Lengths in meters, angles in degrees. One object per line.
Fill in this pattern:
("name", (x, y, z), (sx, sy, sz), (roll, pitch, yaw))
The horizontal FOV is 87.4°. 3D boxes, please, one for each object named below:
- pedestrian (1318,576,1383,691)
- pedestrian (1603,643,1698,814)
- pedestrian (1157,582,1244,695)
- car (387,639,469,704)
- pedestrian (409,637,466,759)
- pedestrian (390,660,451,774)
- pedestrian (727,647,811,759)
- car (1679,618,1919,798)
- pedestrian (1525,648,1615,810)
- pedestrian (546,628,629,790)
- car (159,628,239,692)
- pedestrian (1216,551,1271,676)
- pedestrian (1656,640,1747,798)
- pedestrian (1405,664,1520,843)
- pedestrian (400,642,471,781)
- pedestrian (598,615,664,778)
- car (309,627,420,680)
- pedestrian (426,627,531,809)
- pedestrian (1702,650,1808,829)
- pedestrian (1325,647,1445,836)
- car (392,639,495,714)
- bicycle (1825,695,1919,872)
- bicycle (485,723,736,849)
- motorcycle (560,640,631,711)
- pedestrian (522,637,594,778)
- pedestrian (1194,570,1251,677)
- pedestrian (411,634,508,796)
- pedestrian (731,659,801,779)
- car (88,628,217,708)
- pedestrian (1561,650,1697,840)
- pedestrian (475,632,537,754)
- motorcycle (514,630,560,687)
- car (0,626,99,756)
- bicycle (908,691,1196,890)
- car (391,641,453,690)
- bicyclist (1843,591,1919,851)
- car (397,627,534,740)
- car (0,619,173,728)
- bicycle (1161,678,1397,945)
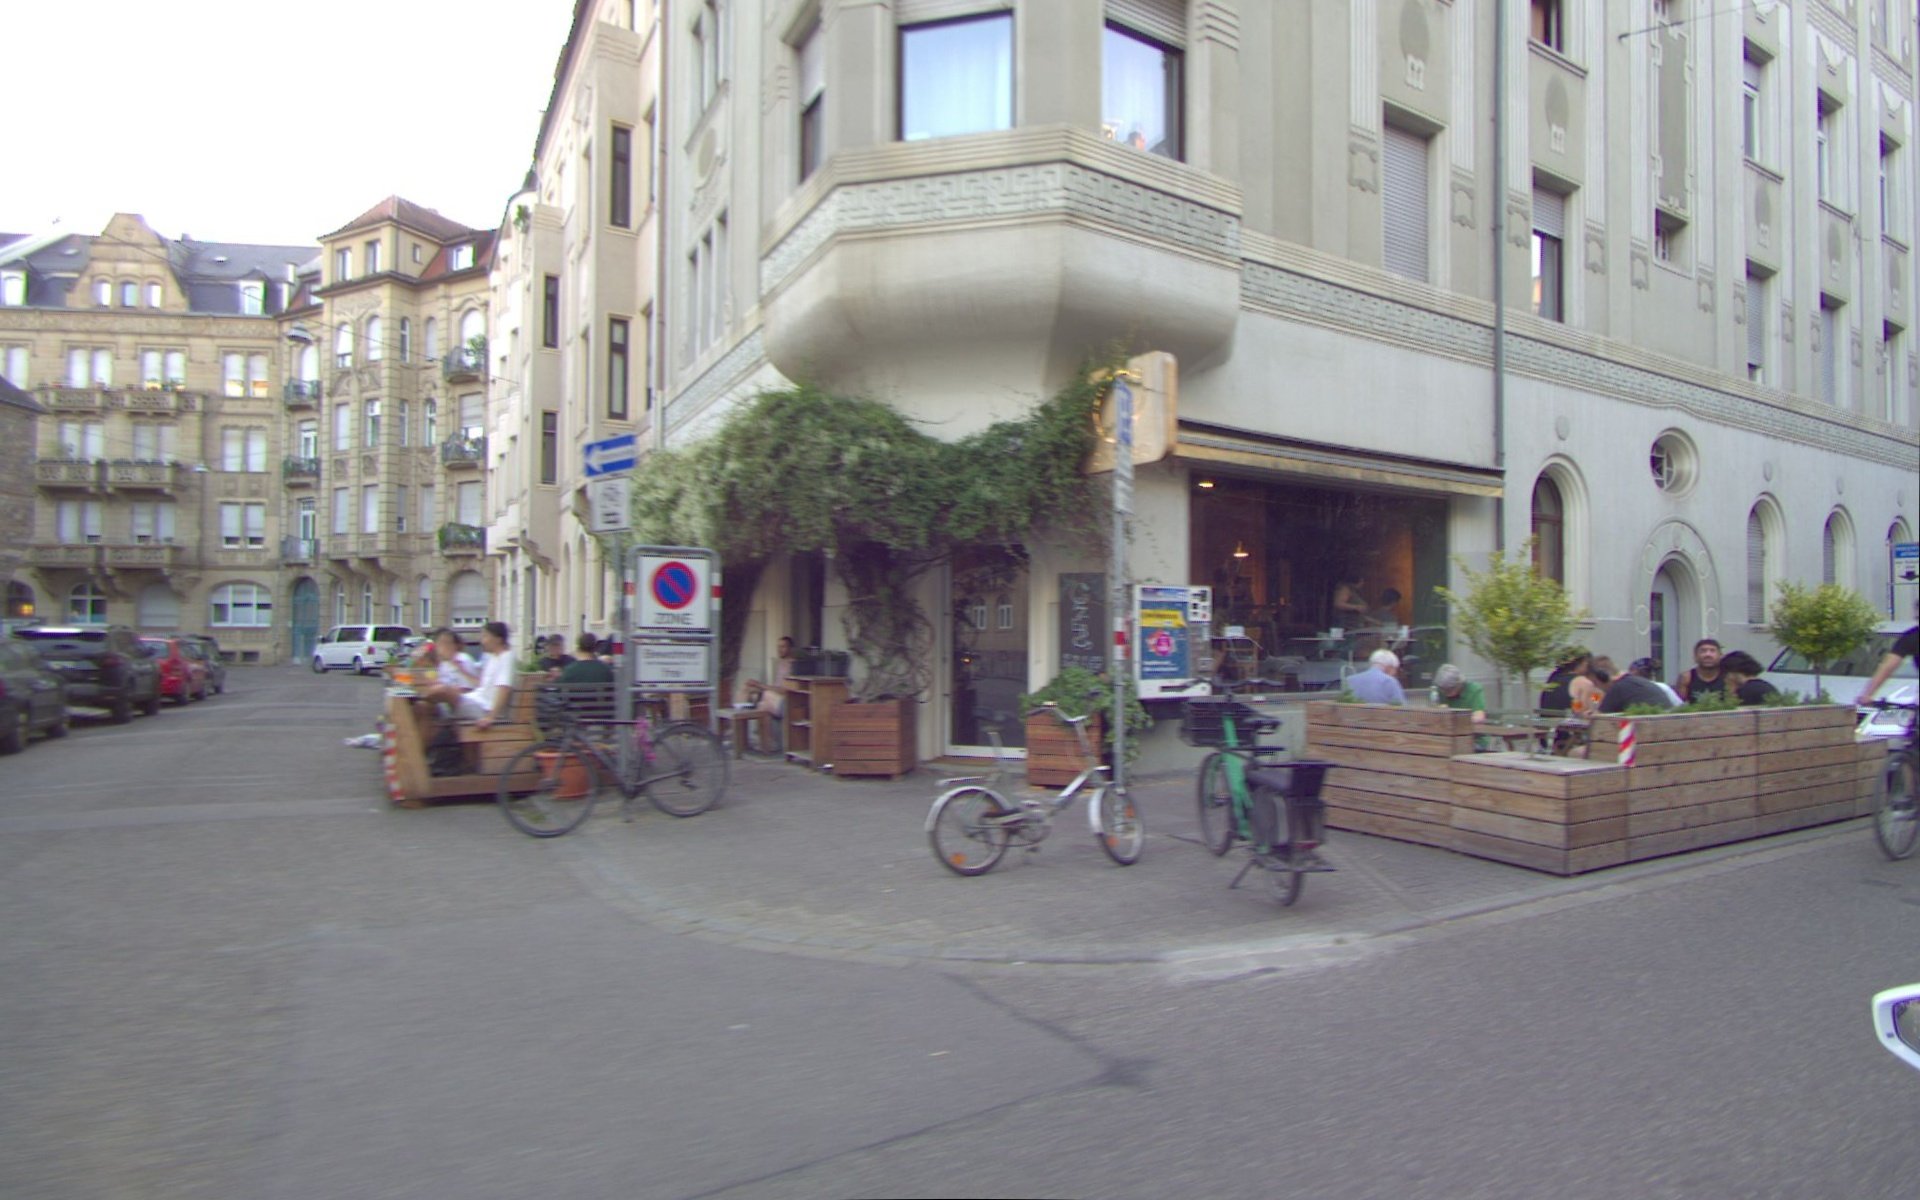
("pedestrian", (4.768, 0.409, 12.280), (0.512, 1.368, 0.536), (1, -1, -30))
("pedestrian", (5.844, 1.058, 8.506), (0.604, 1.368, 0.466), (1, -1, -32))
("pedestrian", (2.576, 0.408, 10.771), (0.739, 1.169, 0.554), (2, -1, -32))
("car", (-14.196, 1.858, 26.697), (1.720, 1.567, 4.118), (4, -4, -30))
("pedestrian", (-6.507, 1.194, 12.505), (0.567, 1.466, 0.639), (1, -2, -31))
("pedestrian", (-6.117, 1.304, 11.389), (0.567, 1.223, 0.639), (1, -2, -31))
("pedestrian", (-2.214, 1.170, 11.633), (0.770, 1.230, 0.687), (1, -2, -30))
("car", (9.950, 1.046, 10.902), (4.265, 1.612, 1.983), (2, -2, -31))
("pedestrian", (5.425, 1.117, 8.932), (0.604, 1.368, 0.466), (1, -1, -32))
("pedestrian", (-3.578, 1.016, 9.644), (0.637, 1.488, 0.569), (1, -2, -32))
("car", (-20.183, 1.547, 26.739), (1.282, 1.592, 3.221), (1, -2, -30))
("pedestrian", (3.928, 0.192, 13.925), (0.512, 1.676, 0.536), (1, -1, -30))
("pedestrian", (6.721, 1.049, 9.110), (0.534, 1.368, 0.514), (2, -1, -33))
("pedestrian", (4.041, 1.197, 8.084), (0.696, 1.342, 0.535), (1, -1, -30))
("pedestrian", (-5.624, 1.162, 10.771), (0.637, 1.430, 0.569), (1, -2, -30))
("pedestrian", (-3.446, 0.989, 10.522), (0.540, 1.642, 0.538), (1, -2, -31))
("car", (-23.357, 2.063, 39.355), (5.084, 1.884, 1.803), (0, -4, 36))
("pedestrian", (-4.400, 1.038, 9.172), (0.775, 1.560, 0.698), (1, -2, -32))
("pedestrian", (6.430, 1.092, 8.131), (0.661, 1.368, 0.481), (1, -1, -32))
("pedestrian", (3.240, 1.041, 7.661), (0.696, 1.342, 0.535), (1, -1, -30))
("car", (-11.254, 1.615, 21.762), (1.720, 1.448, 4.118), (4, -4, -30))
("bicycle", (6.793, 1.222, 6.984), (1.882, 1.054, 0.611), (2, -2, -31))
("bicycle", (-2.626, 1.375, 7.660), (1.760, 0.705, 0.421), (-1, -1, -34))
("motorcycle", (-7.428, 1.466, 20.348), (0.808, 1.297, 3.384), (1, -2, -29))
("pedestrian", (-4.346, 1.135, 10.853), (0.637, 1.462, 0.569), (1, -2, -30))
("pedestrian", (3.536, 0.323, 13.536), (0.512, 1.401, 0.536), (1, -1, -30))
("pedestrian", (-4.877, 1.080, 9.785), (0.775, 1.488, 0.698), (1, -2, -32))
("pedestrian", (-2.091, 1.258, 10.833), (0.599, 1.230, 0.528), (1, -2, -30))
("car", (-17.854, 1.445, 22.382), (1.614, 1.592, 4.006), (1, -2, -30))
("pedestrian", (5.106, 1.066, 7.672), (0.762, 1.342, 0.606), (2, -1, -32))
("pedestrian", (-5.821, 1.170, 12.876), (0.637, 1.520, 0.569), (1, -2, -32))
("motorcycle", (-11.959, 1.609, 28.337), (0.808, 1.514, 3.384), (1, -2, -29))
("car", (-12.868, 1.101, 13.119), (1.701, 1.519, 4.179), (1, -2, -30))
("bicycle", (0.558, 1.102, 6.037), (1.690, 1.026, 0.423), (0, -1, -17))
("car", (-18.942, 2.271, 35.302), (1.720, 1.567, 3.763), (4, -4, -30))
("bicyclist", (6.745, 0.809, 6.962), (1.129, 1.707, 0.600), (1, -2, -30))
("car", (-8.358, 1.330, 16.798), (1.720, 1.639, 4.118), (4, -4, -30))
("car", (-15.244, 1.202, 17.589), (1.701, 1.674, 4.179), (1, -2, -30))
("bicycle", (1.707, 1.068, 5.752), (0.491, 1.109, 2.115), (0, -1, -5))
